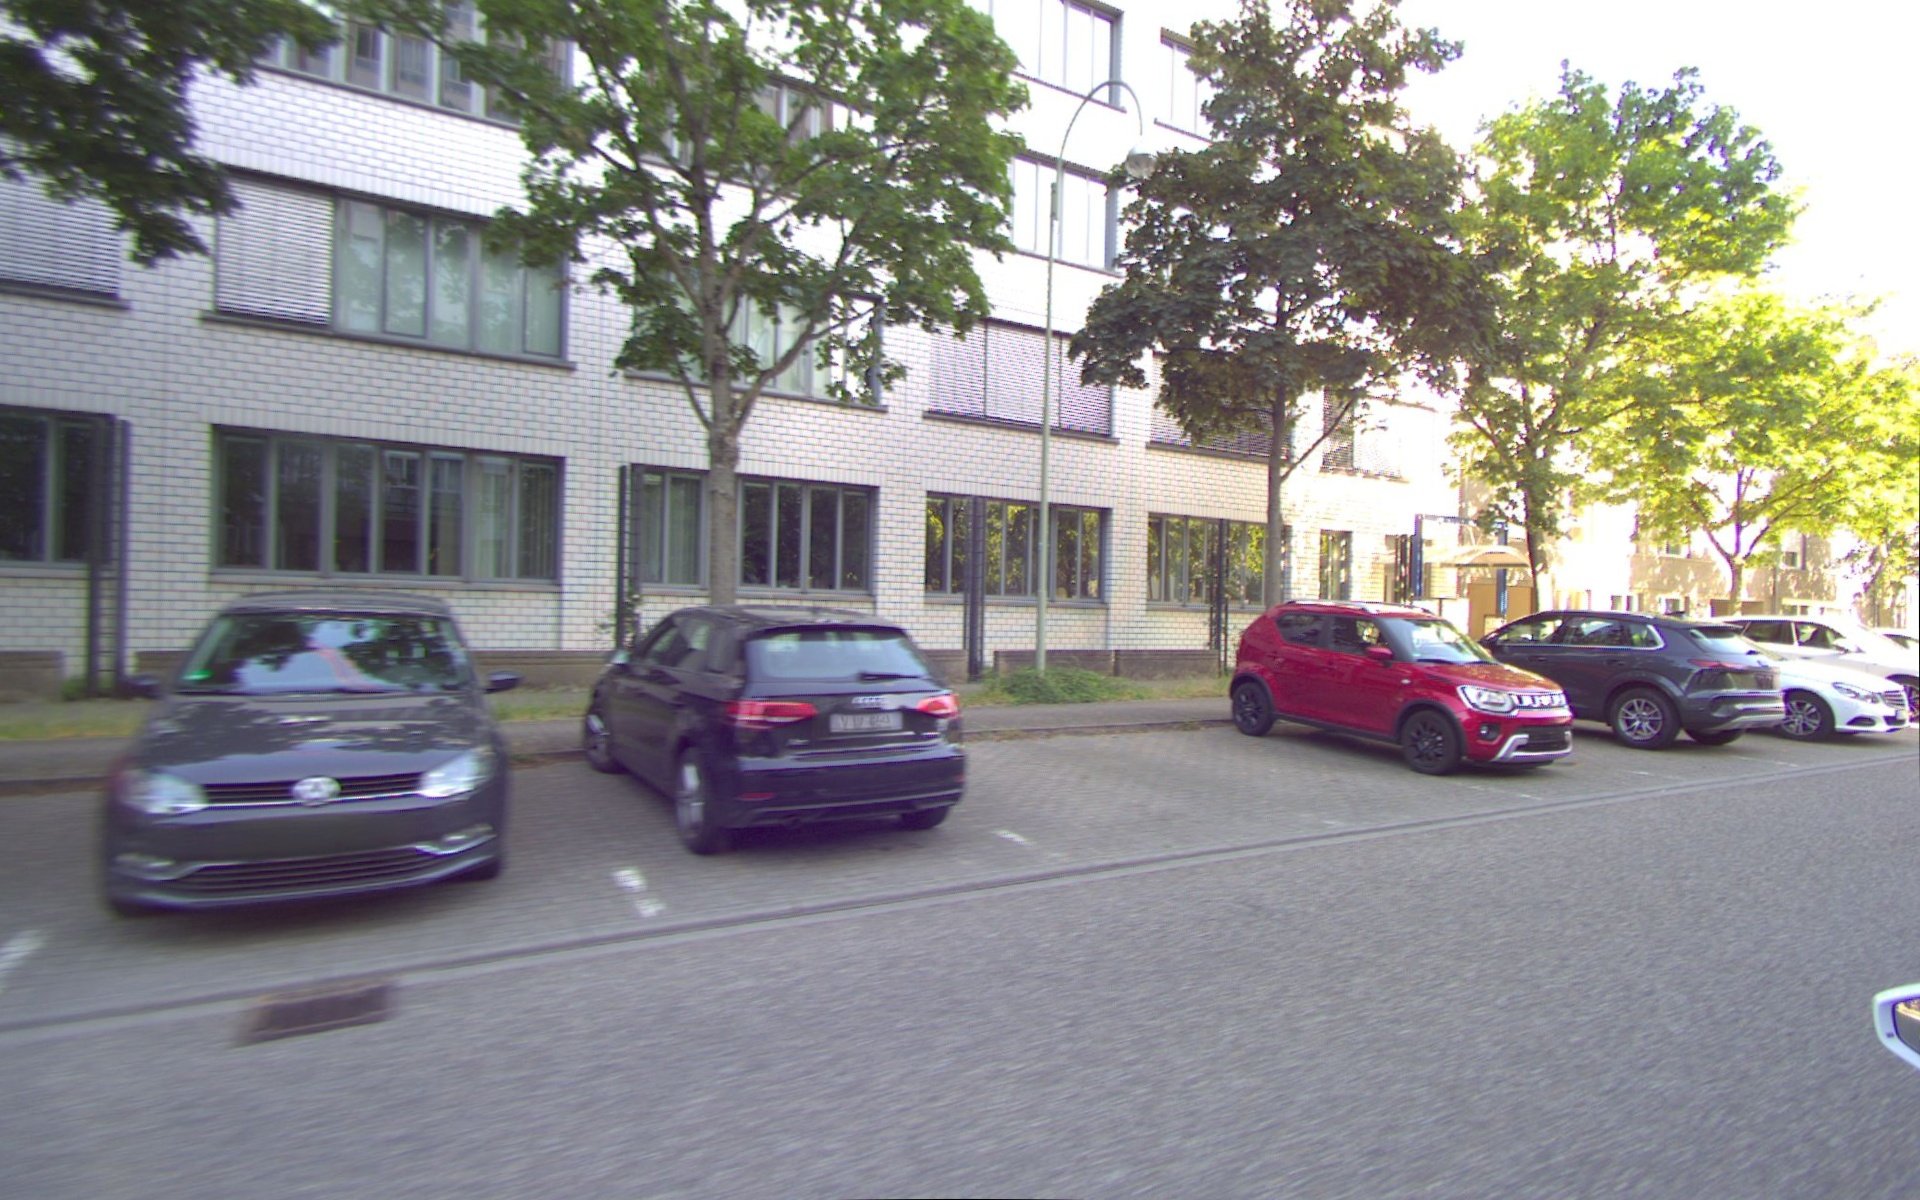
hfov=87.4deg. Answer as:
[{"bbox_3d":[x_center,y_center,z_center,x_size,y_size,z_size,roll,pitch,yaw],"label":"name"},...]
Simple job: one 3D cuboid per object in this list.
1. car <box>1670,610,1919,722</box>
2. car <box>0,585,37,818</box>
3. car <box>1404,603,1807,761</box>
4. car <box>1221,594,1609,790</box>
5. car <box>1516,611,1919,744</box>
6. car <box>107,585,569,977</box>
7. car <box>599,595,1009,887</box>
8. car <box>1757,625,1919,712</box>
[{"bbox_3d":[15.186,1.096,17.448,1.929,1.624,4.206,2,0,-29],"label":"car"},{"bbox_3d":[-6.219,0.630,5.086,1.640,1.465,3.509,2,0,-32],"label":"car"},{"bbox_3d":[8.205,0.920,13.199,1.781,1.642,4.096,1,0,-28],"label":"car"},{"bbox_3d":[4.678,0.824,10.849,1.633,1.690,3.559,1,1,-27],"label":"car"},{"bbox_3d":[10.925,0.988,14.724,1.921,1.471,4.481,1,1,-33],"label":"car"},{"bbox_3d":[-3.431,0.694,5.784,1.639,1.455,3.512,2,1,-30],"label":"car"},{"bbox_3d":[-1.380,0.725,7.286,1.668,1.433,3.803,0,2,-30],"label":"car"},{"bbox_3d":[17.810,1.276,18.759,1.779,1.499,4.238,1,-1,-30],"label":"car"}]
